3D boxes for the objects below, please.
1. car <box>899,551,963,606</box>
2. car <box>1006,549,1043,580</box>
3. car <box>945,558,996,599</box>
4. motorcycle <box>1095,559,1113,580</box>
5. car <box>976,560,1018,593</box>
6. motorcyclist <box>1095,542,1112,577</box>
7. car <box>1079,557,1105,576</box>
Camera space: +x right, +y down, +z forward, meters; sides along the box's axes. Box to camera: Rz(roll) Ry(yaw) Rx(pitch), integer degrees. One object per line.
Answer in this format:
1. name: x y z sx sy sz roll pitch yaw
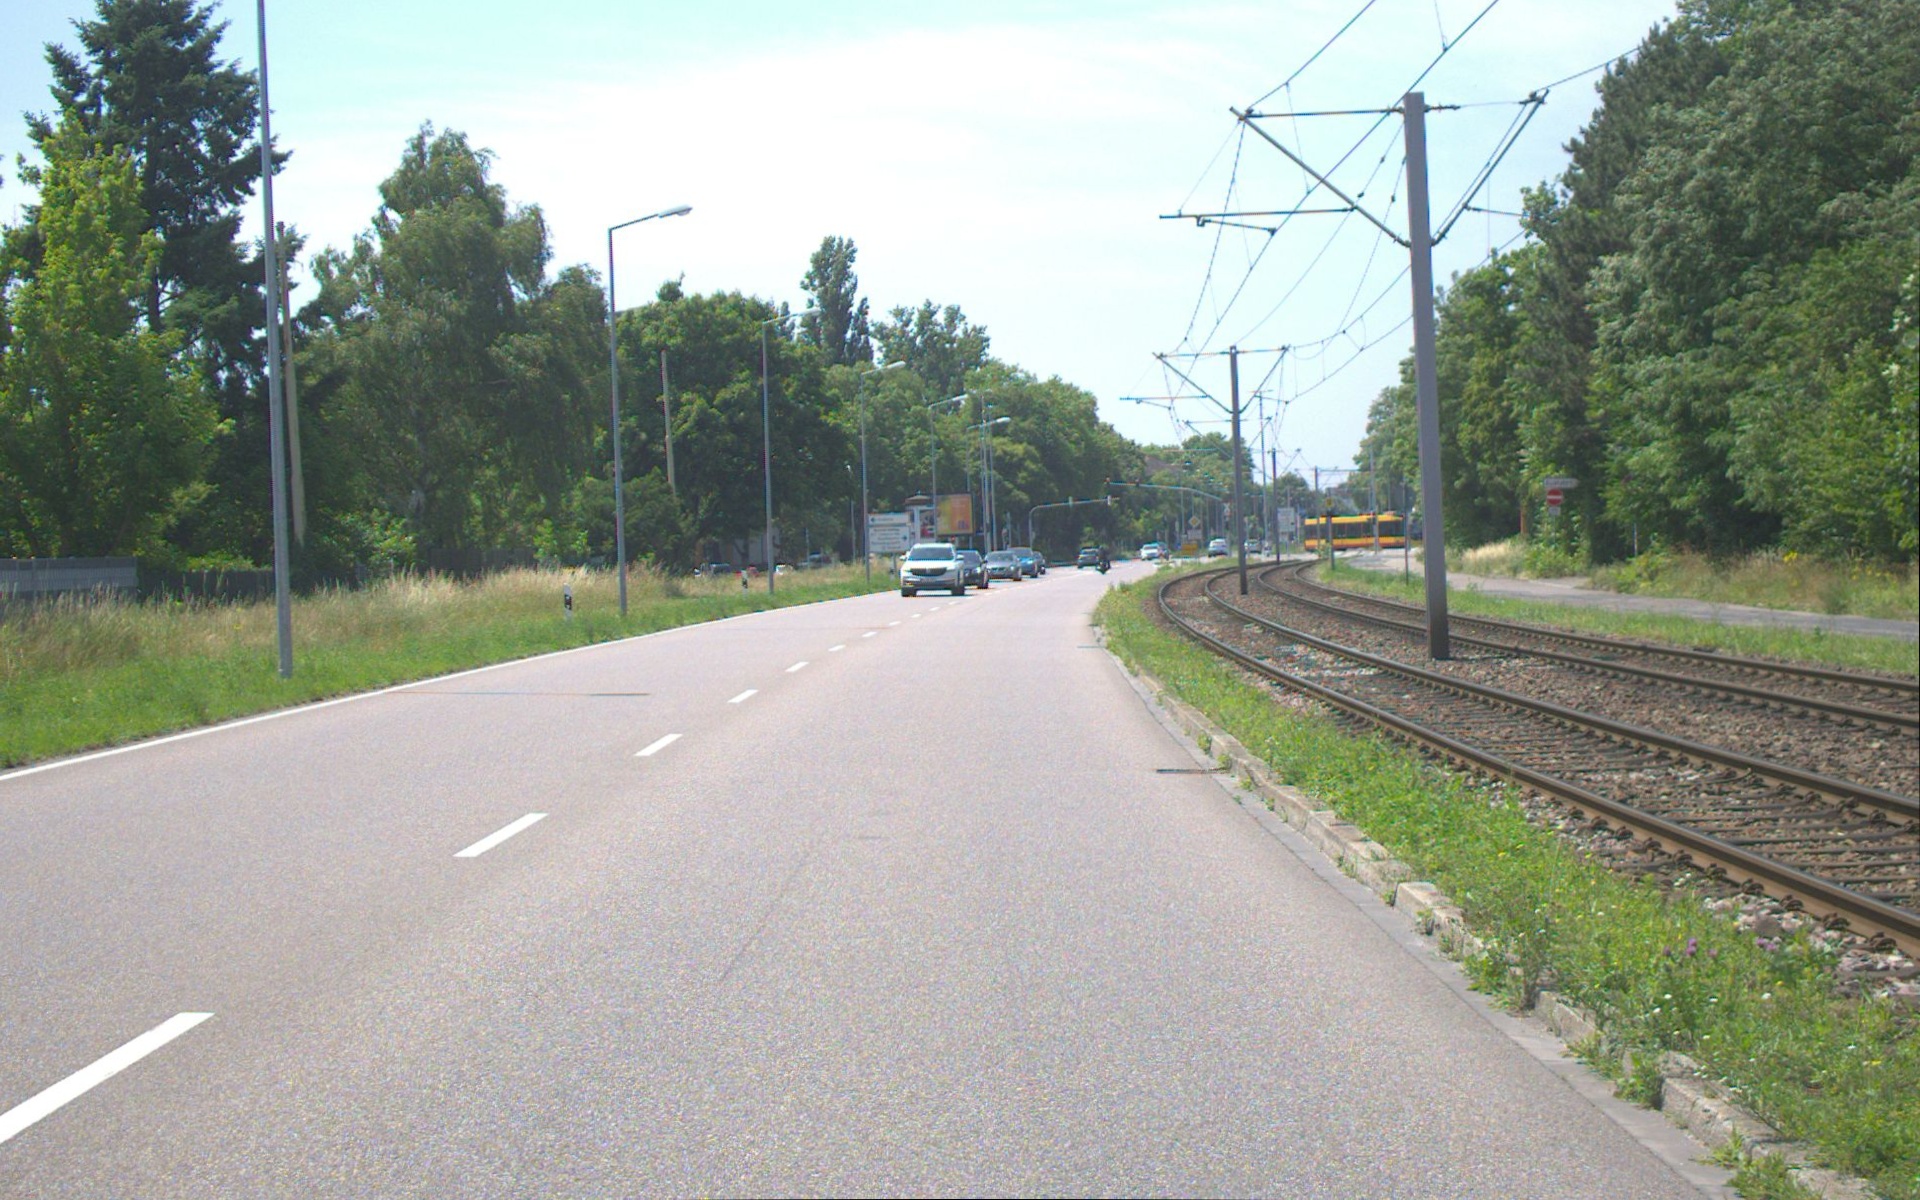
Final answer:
1. car: -0.946 -0.720 114.832 1.935 1.790 4.711 -1 0 2
2. car: 3.294 -1.783 175.170 1.817 1.532 4.363 -1 0 2
3. car: 0.413 -0.821 131.341 1.817 1.523 4.363 -1 0 2
4. motorcycle: 7.919 -1.661 188.984 0.970 1.114 2.732 -1 0 3
5. car: 1.714 -1.075 159.629 1.817 1.488 4.363 -1 0 2
6. motorcyclist: 7.865 -2.236 188.868 0.891 1.898 1.015 -1 0 3
7. car: 9.842 -2.510 256.221 1.627 1.390 4.362 -1 0 6
